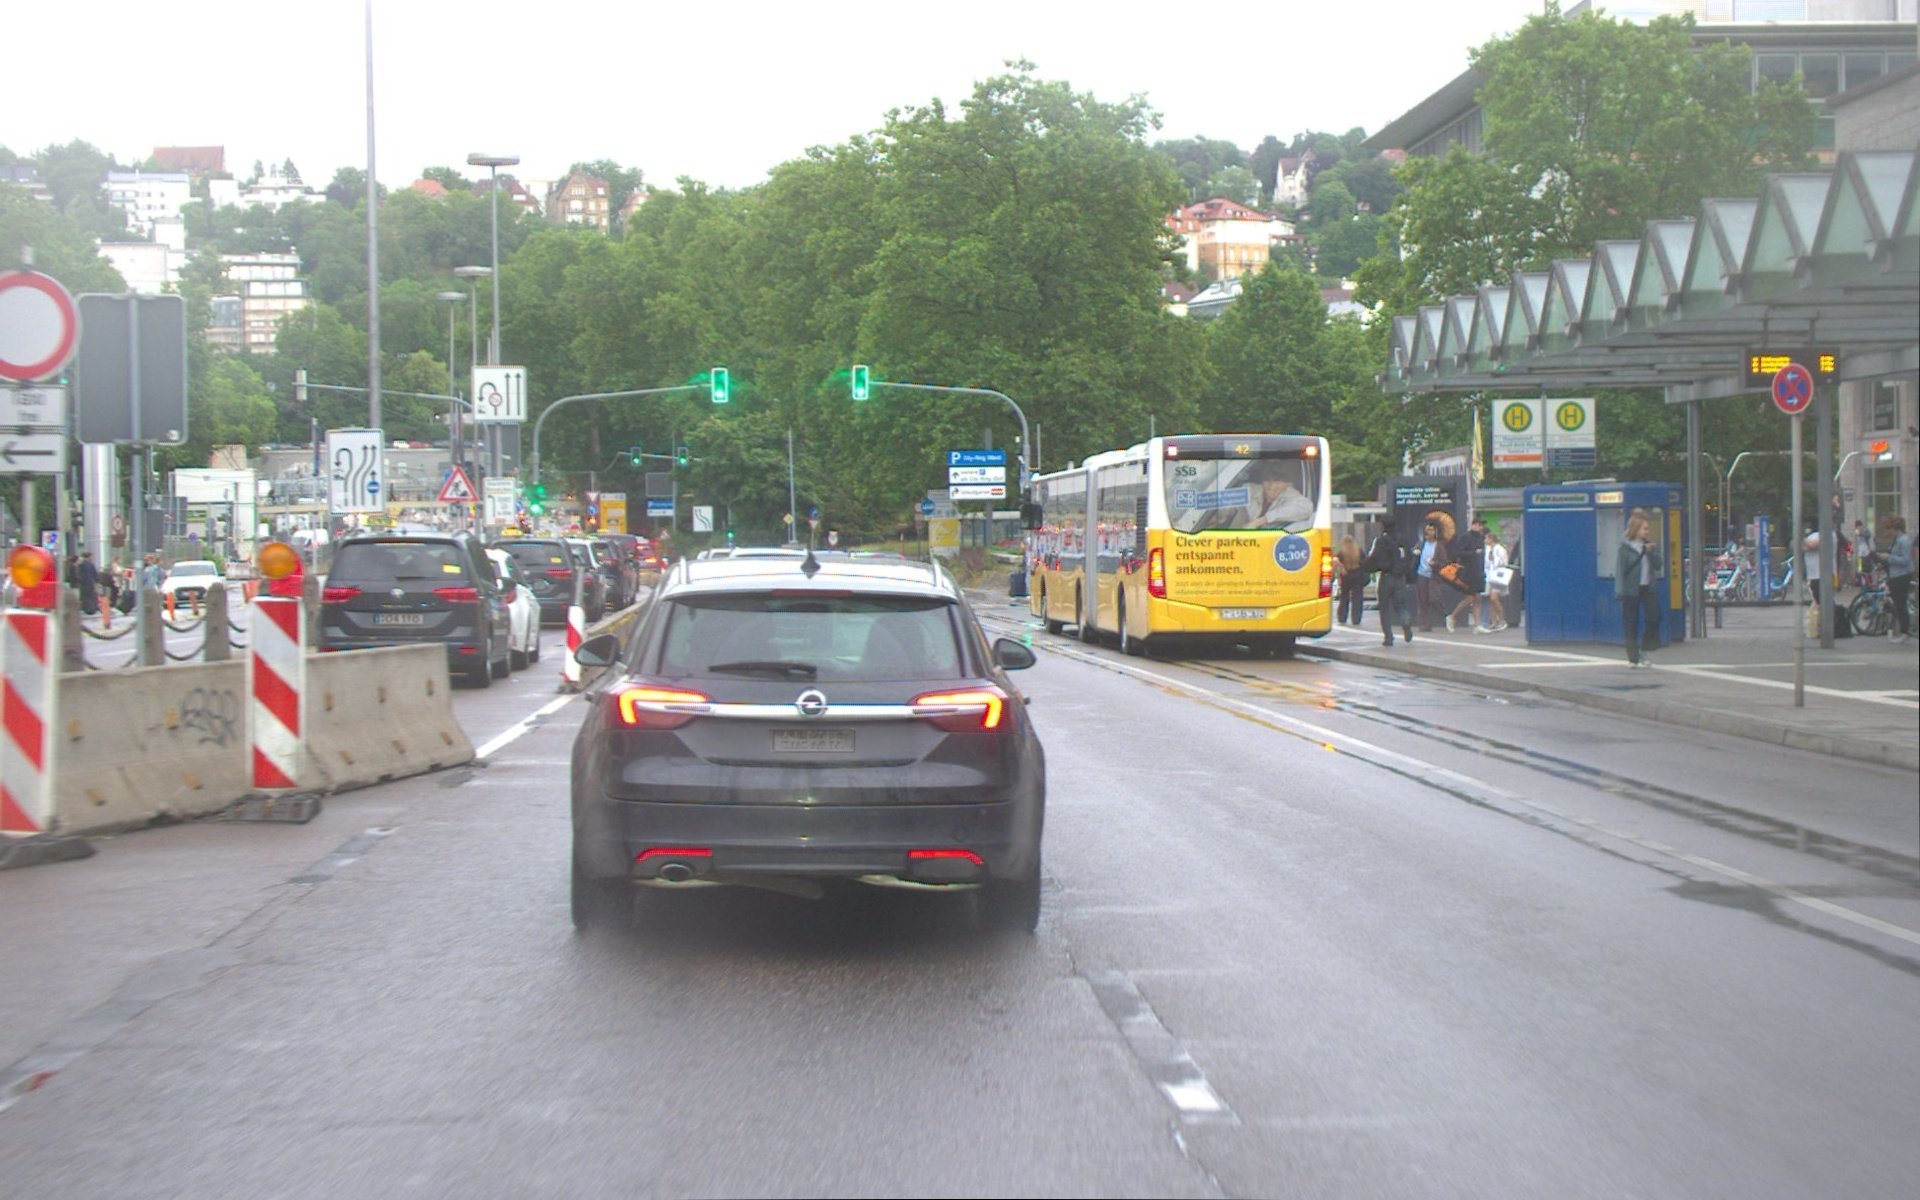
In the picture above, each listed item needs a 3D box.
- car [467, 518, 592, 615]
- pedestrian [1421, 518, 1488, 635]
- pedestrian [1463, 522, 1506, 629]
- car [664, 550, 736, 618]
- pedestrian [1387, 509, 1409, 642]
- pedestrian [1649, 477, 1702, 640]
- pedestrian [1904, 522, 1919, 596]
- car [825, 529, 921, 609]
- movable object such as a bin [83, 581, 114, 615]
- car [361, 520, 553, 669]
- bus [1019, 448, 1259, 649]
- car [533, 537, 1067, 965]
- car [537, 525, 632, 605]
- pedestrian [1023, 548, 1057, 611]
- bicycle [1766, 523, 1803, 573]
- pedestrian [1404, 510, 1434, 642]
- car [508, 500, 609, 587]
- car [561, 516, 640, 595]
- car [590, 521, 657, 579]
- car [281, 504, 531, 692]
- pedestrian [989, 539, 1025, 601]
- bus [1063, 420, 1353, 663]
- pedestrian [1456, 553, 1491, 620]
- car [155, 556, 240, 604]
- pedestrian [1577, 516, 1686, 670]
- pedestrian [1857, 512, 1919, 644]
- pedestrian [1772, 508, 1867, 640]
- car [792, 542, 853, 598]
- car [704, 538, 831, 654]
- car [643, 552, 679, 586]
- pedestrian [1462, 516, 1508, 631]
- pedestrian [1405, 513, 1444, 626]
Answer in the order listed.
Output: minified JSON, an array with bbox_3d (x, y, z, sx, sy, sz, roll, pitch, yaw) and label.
[{"bbox_3d":[-7.742,-0.612,62.145,1.993,1.648,4.642,-1,1,-4],"label":"car"},{"bbox_3d":[7.815,-0.376,54.309,0.985,1.830,0.835,0,1,13],"label":"pedestrian"},{"bbox_3d":[8.521,-0.400,55.882,0.609,1.717,0.592,0,1,1],"label":"pedestrian"},{"bbox_3d":[-7.950,-0.503,104.834,1.983,2.007,4.370,0,0,-6],"label":"car"},{"bbox_3d":[6.086,-0.341,47.758,0.243,1.830,0.512,0,1,1],"label":"pedestrian"},{"bbox_3d":[9.729,-0.566,46.772,0.590,2.207,0.587,0,1,-1],"label":"pedestrian"},{"bbox_3d":[23.333,-1.000,83.141,0.731,1.786,0.789,-1,1,-3],"label":"pedestrian"},{"bbox_3d":[-1.972,-0.686,76.552,1.851,1.711,4.001,0,0,-5],"label":"car"},{"bbox_3d":[-25.135,-0.070,100.360,0.758,0.967,0.721,-1,1,-5],"label":"movable object such as a bin"},{"bbox_3d":[-6.119,-0.096,42.294,1.993,1.700,4.833,-1,1,-4],"label":"car"},{"bbox_3d":[2.954,-0.853,59.828,3.113,3.194,9.243,0,0,-4],"label":"bus"},{"bbox_3d":[-0.622,0.500,14.561,1.877,1.503,4.852,0,1,-1],"label":"car"},{"bbox_3d":[-8.663,-0.821,79.637,1.993,1.781,4.848,-1,1,-4],"label":"car"},{"bbox_3d":[2.298,-0.595,99.086,0.745,1.798,0.710,-1,1,-19],"label":"pedestrian"},{"bbox_3d":[25.674,-1.622,107.042,0.793,1.556,2.131,0,1,4],"label":"bicycle"},{"bbox_3d":[6.402,-0.342,47.982,0.347,1.830,0.533,0,1,1],"label":"pedestrian"},{"bbox_3d":[-8.563,-1.203,73.626,1.993,1.781,4.455,-1,1,-5],"label":"car"},{"bbox_3d":[-8.869,-1.103,85.092,1.713,1.885,4.611,-1,1,-4],"label":"car"},{"bbox_3d":[-11.060,-1.628,112.769,1.993,1.839,5.063,0,0,-7],"label":"car"},{"bbox_3d":[-5.834,-0.054,36.784,1.993,1.856,4.833,-1,1,-2],"label":"car"},{"bbox_3d":[1.398,-0.891,101.879,0.786,1.832,0.950,-1,1,-18],"label":"pedestrian"},{"bbox_3d":[3.466,-0.815,50.672,3.141,3.236,9.136,0,0,-3],"label":"bus"},{"bbox_3d":[9.578,-0.260,64.133,0.514,1.228,0.770,-1,1,0],"label":"pedestrian"},{"bbox_3d":[-24.045,-0.625,108.546,1.993,1.463,4.000,0,0,-3],"label":"car"},{"bbox_3d":[7.454,-0.087,38.187,0.759,1.684,0.999,0,1,-23],"label":"pedestrian"},{"bbox_3d":[12.072,-0.287,44.379,0.748,1.689,0.902,0,1,0],"label":"pedestrian"},{"bbox_3d":[11.908,-0.361,47.652,0.786,1.798,0.992,-1,1,-31],"label":"pedestrian"},{"bbox_3d":[-4.018,-0.864,99.911,1.674,1.576,3.240,0,0,-4],"label":"car"},{"bbox_3d":[-2.897,-0.094,52.451,1.830,1.680,4.134,-1,1,-2],"label":"car"},{"bbox_3d":[-14.755,-1.538,169.807,1.706,1.660,3.706,0,0,-4],"label":"car"},{"bbox_3d":[8.435,-0.433,55.211,0.695,1.830,0.555,0,1,14],"label":"pedestrian"},{"bbox_3d":[7.556,-0.493,55.932,0.565,1.830,0.569,0,1,0],"label":"pedestrian"}]
